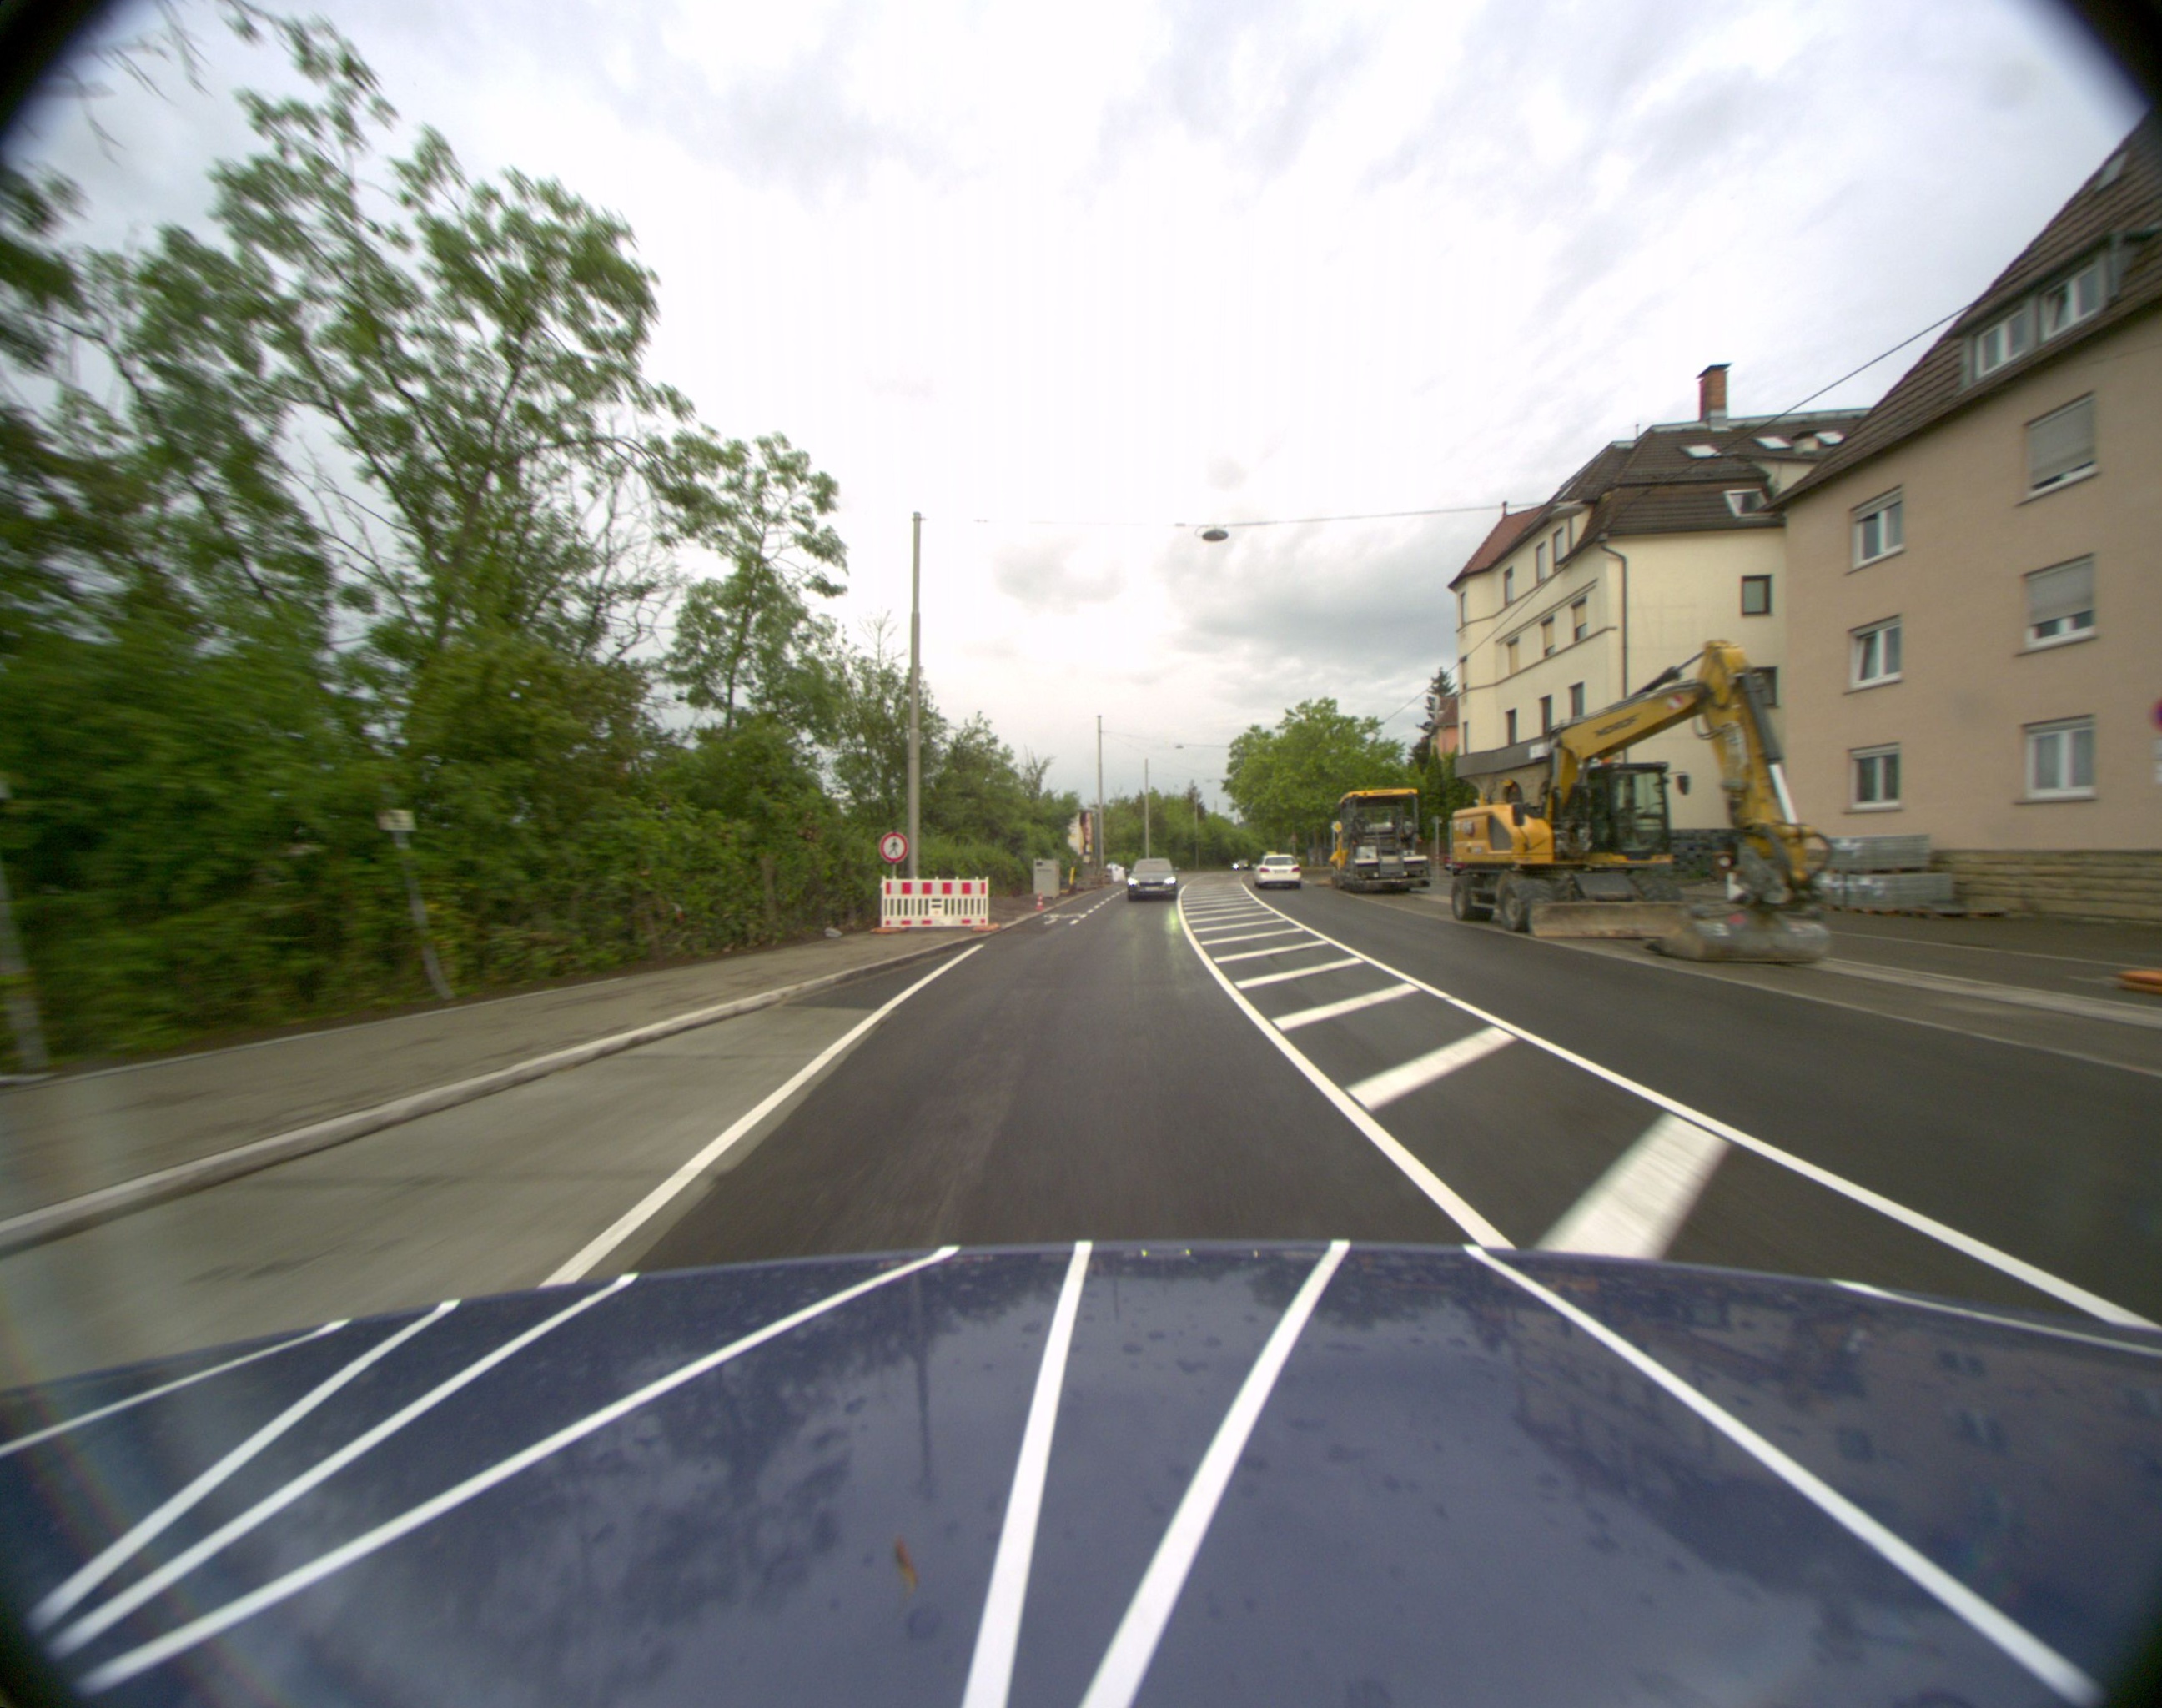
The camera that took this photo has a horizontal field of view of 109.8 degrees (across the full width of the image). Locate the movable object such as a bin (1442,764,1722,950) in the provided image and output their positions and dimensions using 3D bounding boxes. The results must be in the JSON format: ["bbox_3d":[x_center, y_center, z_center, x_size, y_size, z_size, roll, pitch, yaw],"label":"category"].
[{"bbox_3d":[9.557,0.082,15.167,2.829,3.094,4.636,-1,0,6],"label":"movable object such as a bin"}]

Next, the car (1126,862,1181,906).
[{"bbox_3d":[2.726,1.045,28.101,1.836,1.429,4.002,-2,0,7],"label":"car"}]

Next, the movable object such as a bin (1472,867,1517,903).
[{"bbox_3d":[15.434,1.142,28.430,1.159,1.295,1.248,-1,1,11],"label":"movable object such as a bin"}]

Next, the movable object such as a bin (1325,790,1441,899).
[{"bbox_3d":[12.029,-0.339,31.068,2.953,3.821,8.134,-1,0,11],"label":"movable object such as a bin"}]

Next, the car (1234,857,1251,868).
[{"bbox_3d":[20.860,1.108,98.163,1.603,1.295,3.718,-2,-1,21],"label":"car"}]

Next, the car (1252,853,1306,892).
[{"bbox_3d":[8.850,0.766,34.301,1.962,1.634,4.447,0,0,10],"label":"car"}]
